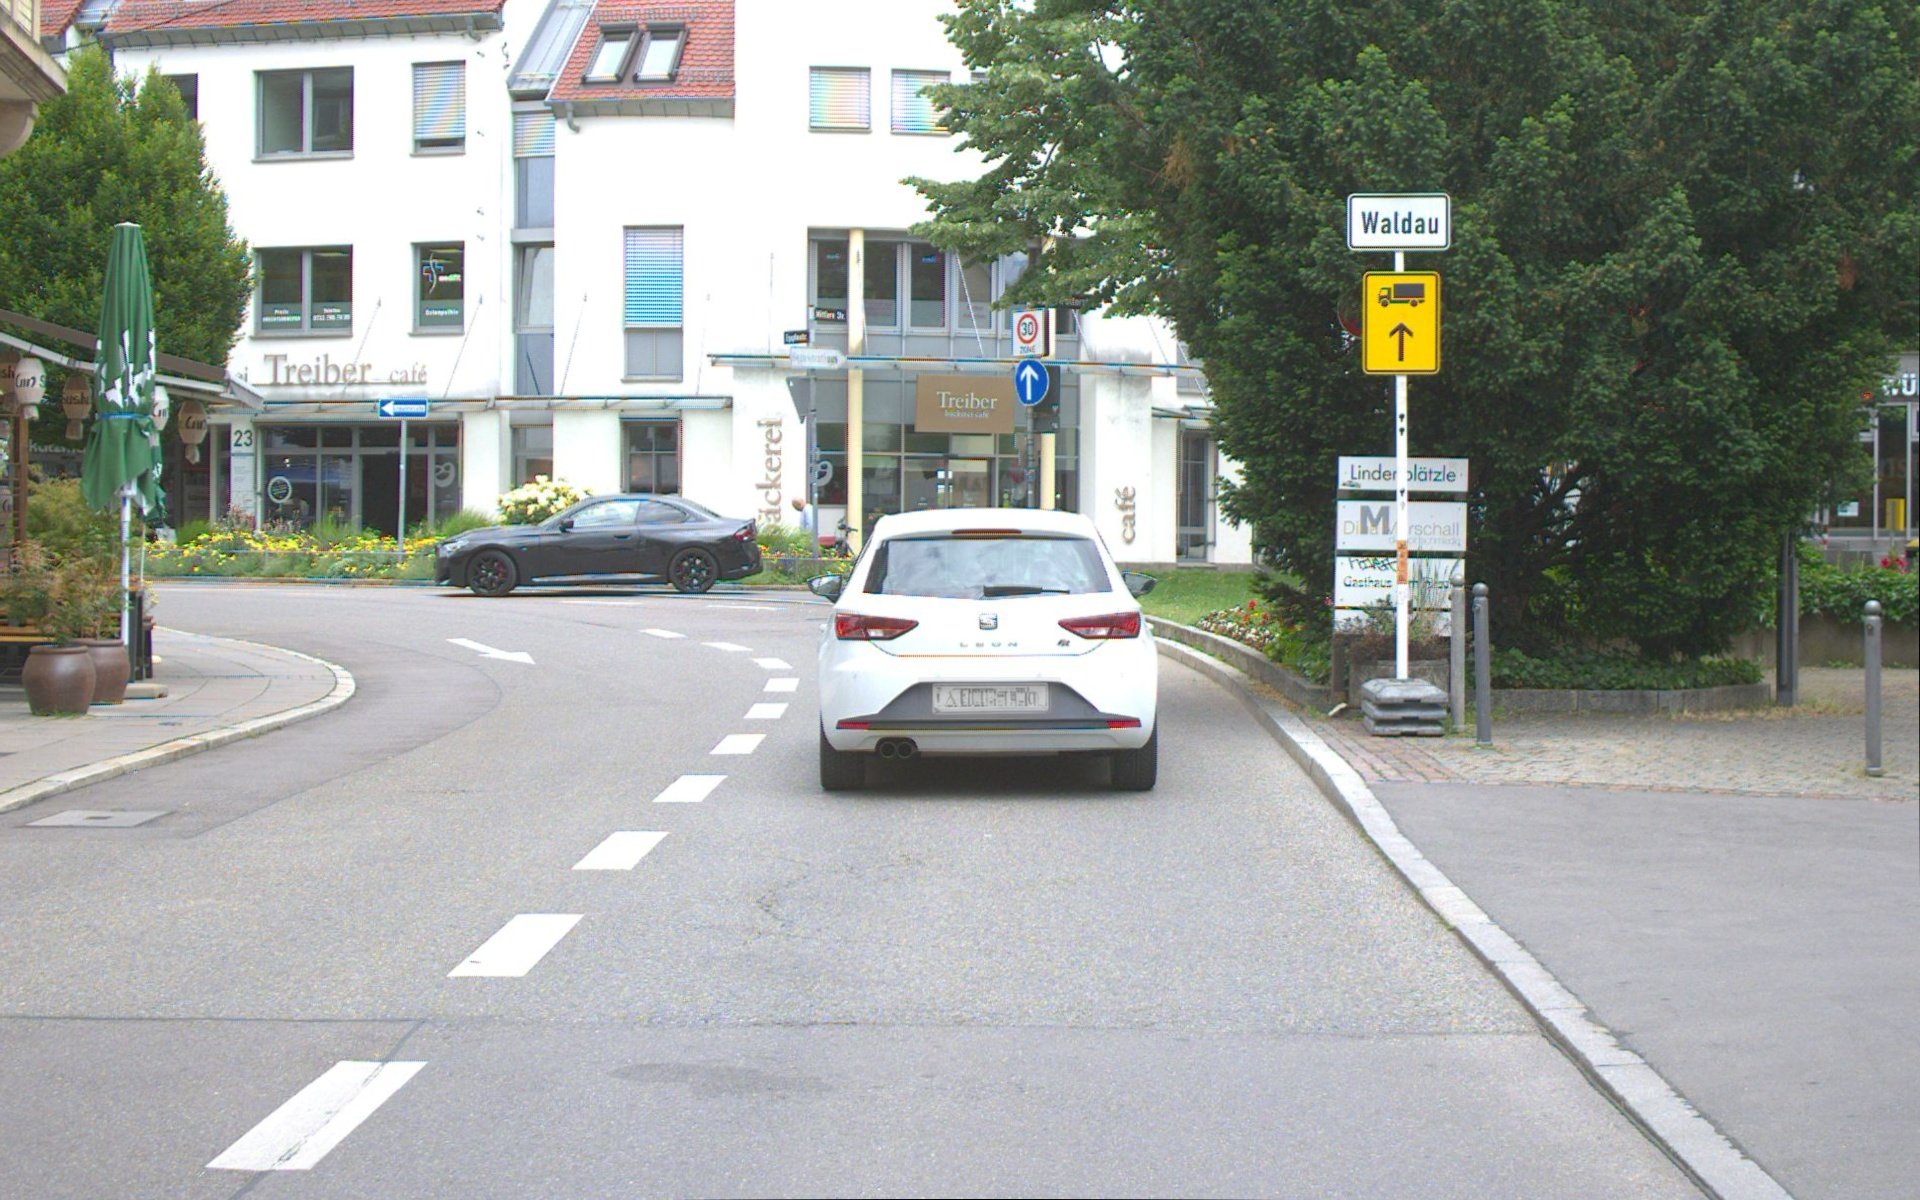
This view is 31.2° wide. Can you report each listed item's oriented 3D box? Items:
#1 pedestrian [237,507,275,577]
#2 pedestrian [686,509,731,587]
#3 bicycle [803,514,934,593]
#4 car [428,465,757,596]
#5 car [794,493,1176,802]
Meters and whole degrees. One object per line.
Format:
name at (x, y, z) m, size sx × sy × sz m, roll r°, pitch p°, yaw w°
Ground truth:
pedestrian at (-12.806, -1.053, 62.525) m, size 0.490 × 1.267 × 0.501 m, roll 1°, pitch 1°, yaw 19°
pedestrian at (-4.382, -0.909, 59.947) m, size 0.655 × 1.337 × 0.696 m, roll 0°, pitch 1°, yaw 6°
bicycle at (-1.484, -0.766, 55.883) m, size 1.976 × 1.235 × 0.743 m, roll 1°, pitch 1°, yaw 18°
car at (-5.048, -0.977, 47.637) m, size 4.359 × 1.669 × 2.042 m, roll 1°, pitch 2°, yaw -2°
car at (0.180, 0.171, 18.806) m, size 1.843 × 1.429 × 4.000 m, roll 1°, pitch 3°, yaw 2°
